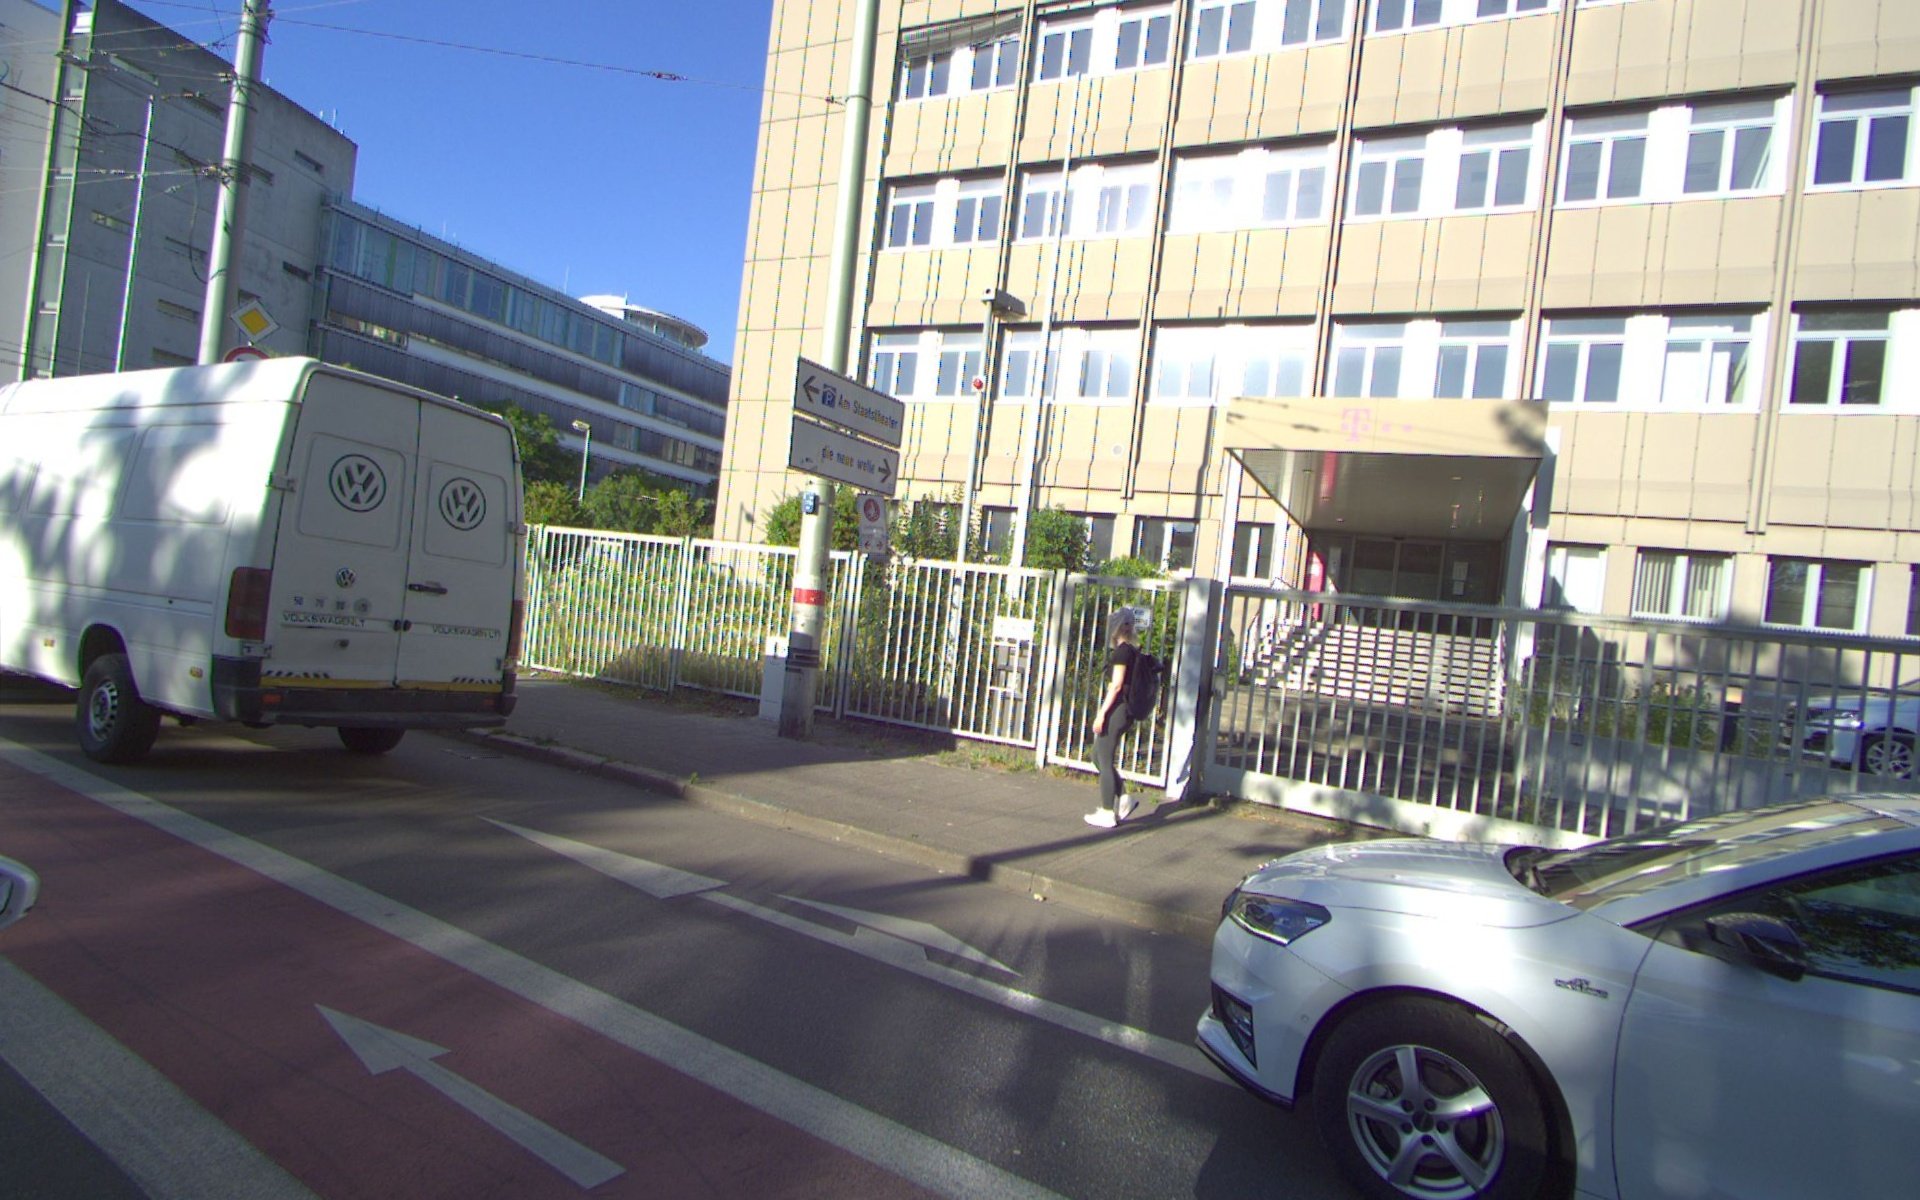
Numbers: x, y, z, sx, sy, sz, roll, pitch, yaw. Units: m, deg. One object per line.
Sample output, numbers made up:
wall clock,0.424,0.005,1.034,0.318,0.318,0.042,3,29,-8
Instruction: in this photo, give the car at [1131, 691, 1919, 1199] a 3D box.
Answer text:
car,2.761,1.258,2.941,4.006,1.405,1.705,6,-2,30

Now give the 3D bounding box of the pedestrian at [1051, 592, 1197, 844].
pedestrian,1.272,0.883,7.780,0.757,1.784,0.591,7,0,32

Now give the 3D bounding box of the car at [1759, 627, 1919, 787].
car,13.486,1.567,12.809,4.701,1.865,1.998,6,0,27

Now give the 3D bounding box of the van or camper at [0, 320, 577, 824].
van or camper,-6.056,-0.362,7.816,6.196,2.748,1.973,6,-1,29
